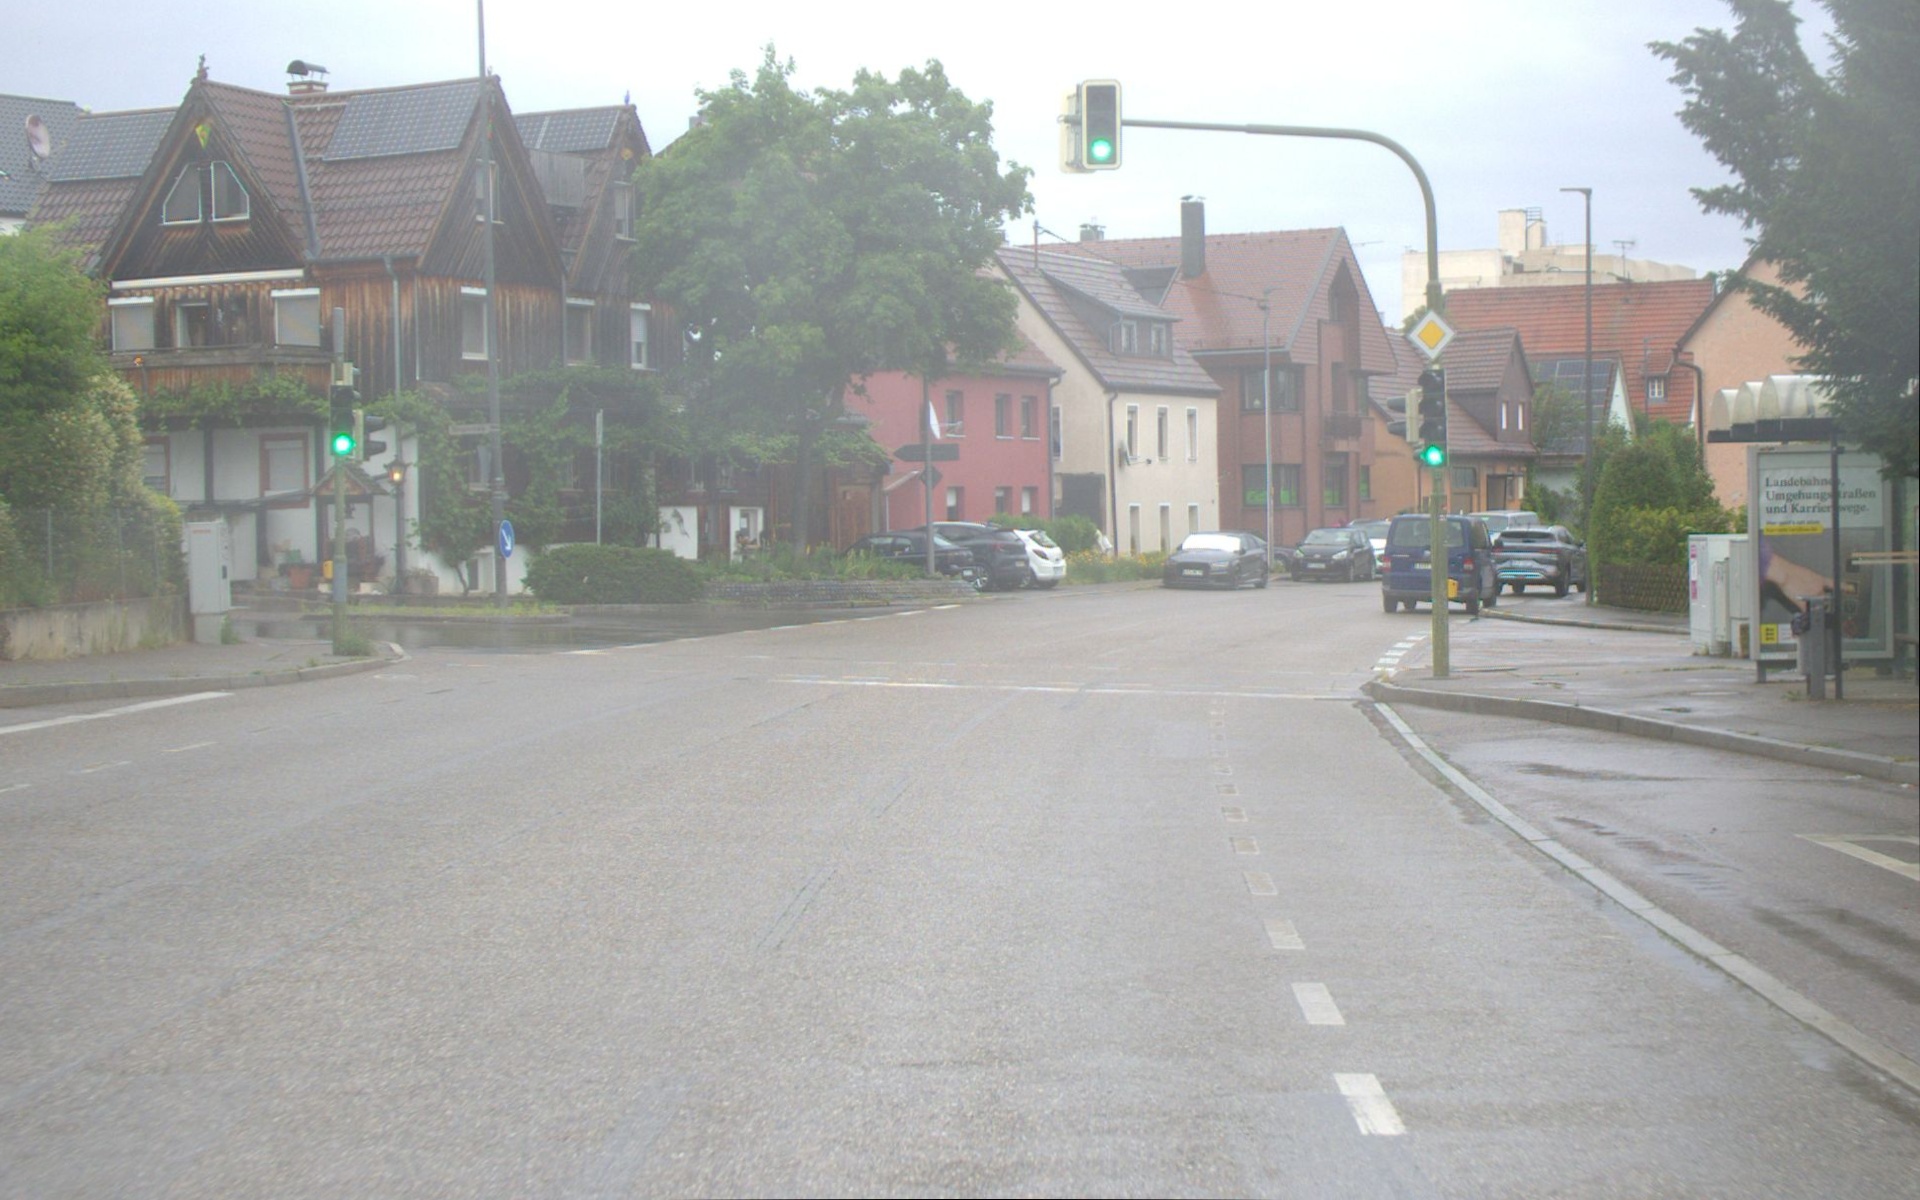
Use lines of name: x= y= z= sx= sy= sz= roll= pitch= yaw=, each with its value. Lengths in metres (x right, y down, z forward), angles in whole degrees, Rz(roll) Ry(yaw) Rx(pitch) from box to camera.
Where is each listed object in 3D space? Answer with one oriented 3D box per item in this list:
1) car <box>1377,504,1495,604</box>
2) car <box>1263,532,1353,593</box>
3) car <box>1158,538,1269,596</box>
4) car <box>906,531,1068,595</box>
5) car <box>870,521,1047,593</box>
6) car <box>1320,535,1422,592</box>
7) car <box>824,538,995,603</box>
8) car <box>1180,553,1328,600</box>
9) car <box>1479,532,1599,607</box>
car: x=9.568 y=-0.942 z=68.870 sx=1.932 sy=1.896 sz=4.791 roll=1 pitch=1 yaw=12
car: x=9.597 y=-1.040 z=94.560 sx=1.607 sy=1.612 sz=3.273 roll=0 pitch=1 yaw=22
car: x=6.271 y=-0.820 z=84.688 sx=1.628 sy=1.351 sz=4.106 roll=2 pitch=2 yaw=20
car: x=0.643 y=-0.872 z=81.449 sx=3.465 sy=1.474 sz=1.589 roll=0 pitch=1 yaw=24
car: x=-0.032 y=-1.005 z=79.239 sx=3.580 sy=1.501 sz=1.853 roll=3 pitch=2 yaw=25
car: x=11.868 y=-1.064 z=98.956 sx=1.766 sy=1.613 sz=4.651 roll=0 pitch=1 yaw=22
car: x=-1.120 y=-0.665 z=76.978 sx=3.450 sy=1.413 sz=1.631 roll=0 pitch=1 yaw=24
car: x=9.110 y=-0.730 z=106.453 sx=4.178 sy=1.398 sz=1.786 roll=-1 pitch=1 yaw=29
car: x=14.118 y=-0.767 z=83.639 sx=1.911 sy=1.711 sz=4.551 roll=2 pitch=2 yaw=22
